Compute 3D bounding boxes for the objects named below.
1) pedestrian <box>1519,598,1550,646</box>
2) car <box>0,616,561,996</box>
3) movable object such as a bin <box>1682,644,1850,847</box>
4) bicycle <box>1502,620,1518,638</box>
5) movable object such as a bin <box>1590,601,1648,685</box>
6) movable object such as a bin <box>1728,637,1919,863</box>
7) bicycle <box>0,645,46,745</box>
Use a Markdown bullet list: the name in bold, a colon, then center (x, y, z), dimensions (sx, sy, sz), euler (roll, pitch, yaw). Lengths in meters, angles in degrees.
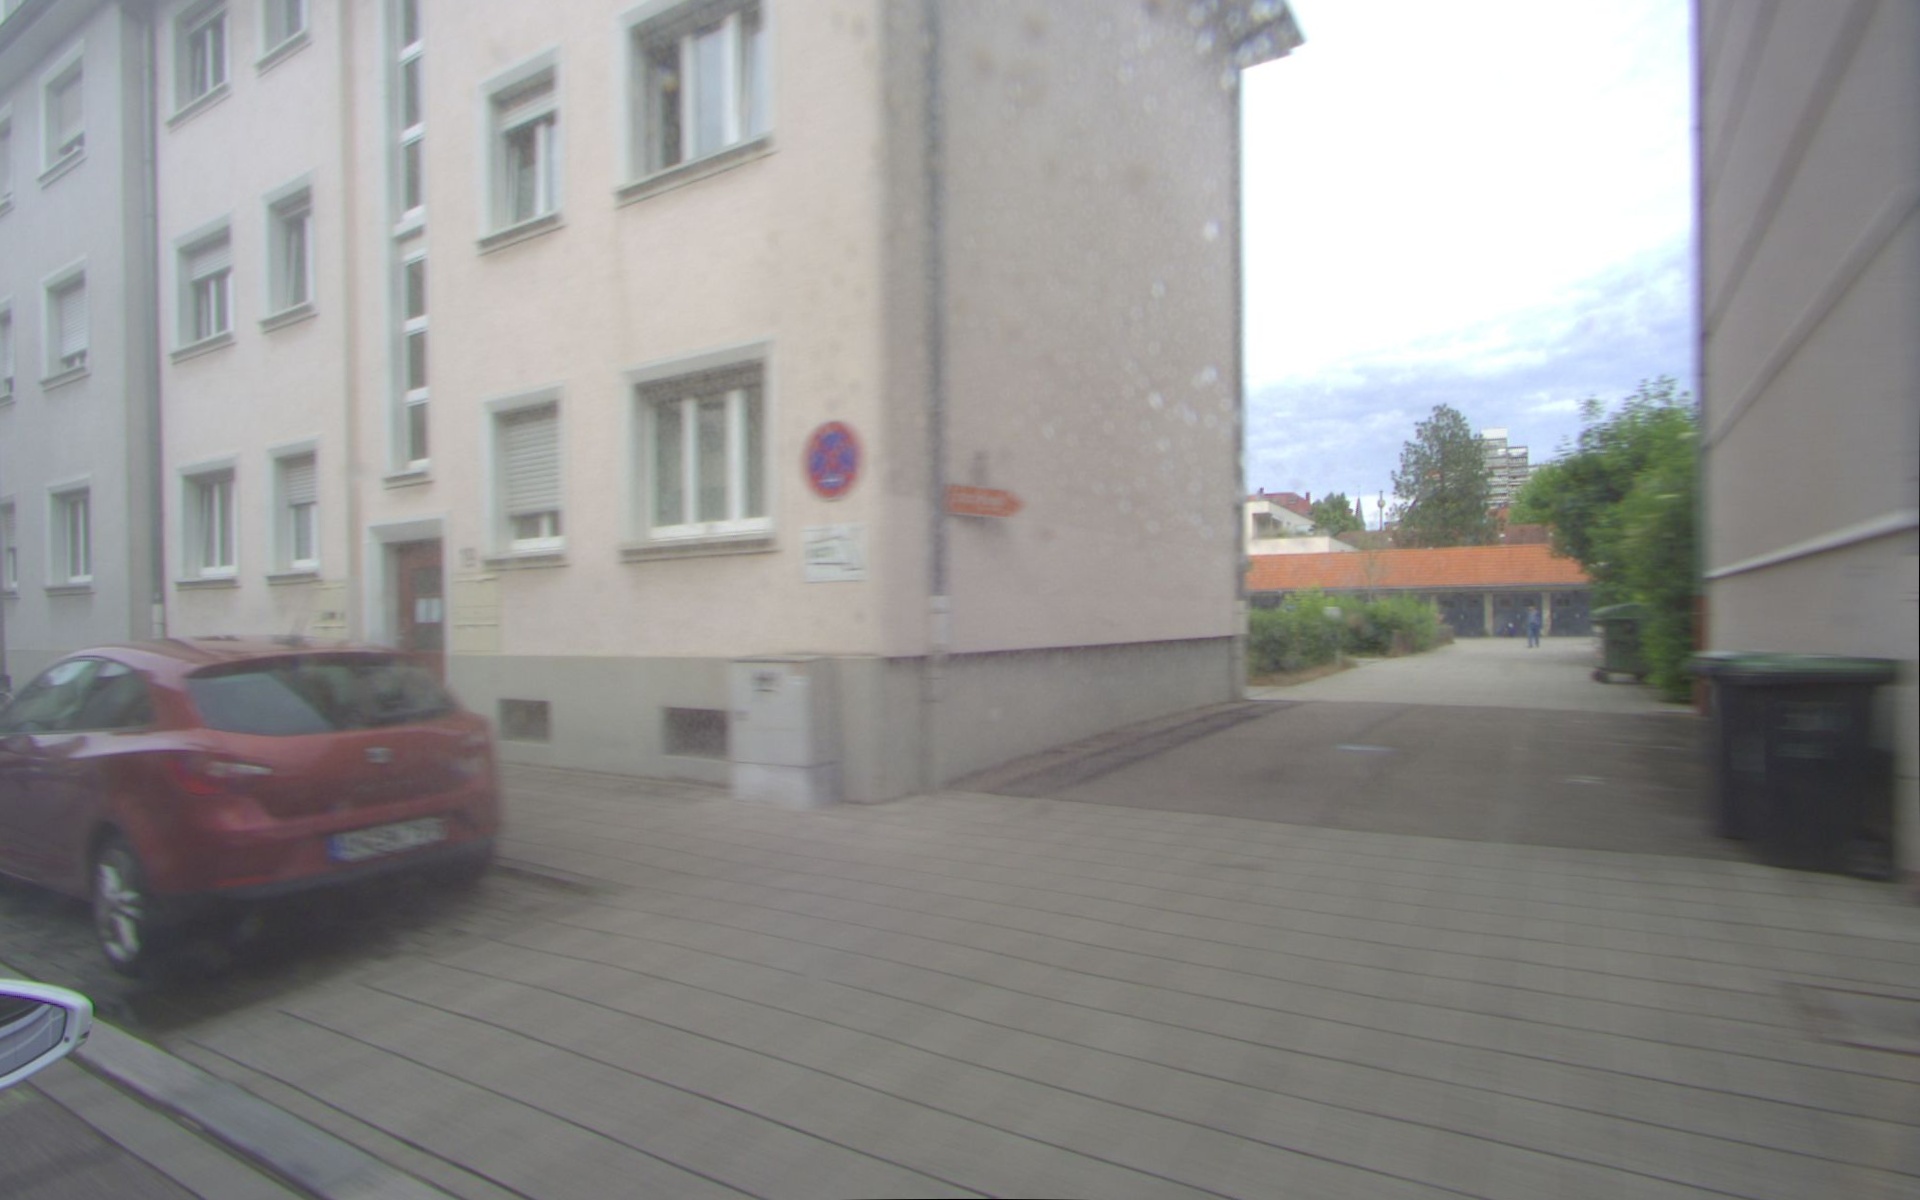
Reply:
- **pedestrian**: center (22.988, 0.879, 40.077), dimensions (0.966, 1.890, 0.969), euler (-1, 0, 37)
- **car**: center (-4.276, 0.858, 5.704), dimensions (3.880, 1.428, 1.749), euler (-1, 1, 32)
- **movable object such as a bin**: center (4.587, 0.791, 5.740), dimensions (0.696, 1.056, 0.547), euler (-1, 0, 35)
- **bicycle**: center (29.404, 1.557, 53.548), dimensions (0.727, 0.902, 1.619), euler (-1, 0, 27)
- **movable object such as a bin**: center (12.196, 0.779, 18.533), dimensions (0.854, 1.514, 0.967), euler (-1, 0, 34)
- **movable object such as a bin**: center (4.415, 0.725, 5.150), dimensions (0.696, 1.056, 0.547), euler (-1, 0, 35)
- **bicycle**: center (-12.148, 1.154, 12.452), dimensions (2.094, 1.155, 0.604), euler (-1, 0, 32)
